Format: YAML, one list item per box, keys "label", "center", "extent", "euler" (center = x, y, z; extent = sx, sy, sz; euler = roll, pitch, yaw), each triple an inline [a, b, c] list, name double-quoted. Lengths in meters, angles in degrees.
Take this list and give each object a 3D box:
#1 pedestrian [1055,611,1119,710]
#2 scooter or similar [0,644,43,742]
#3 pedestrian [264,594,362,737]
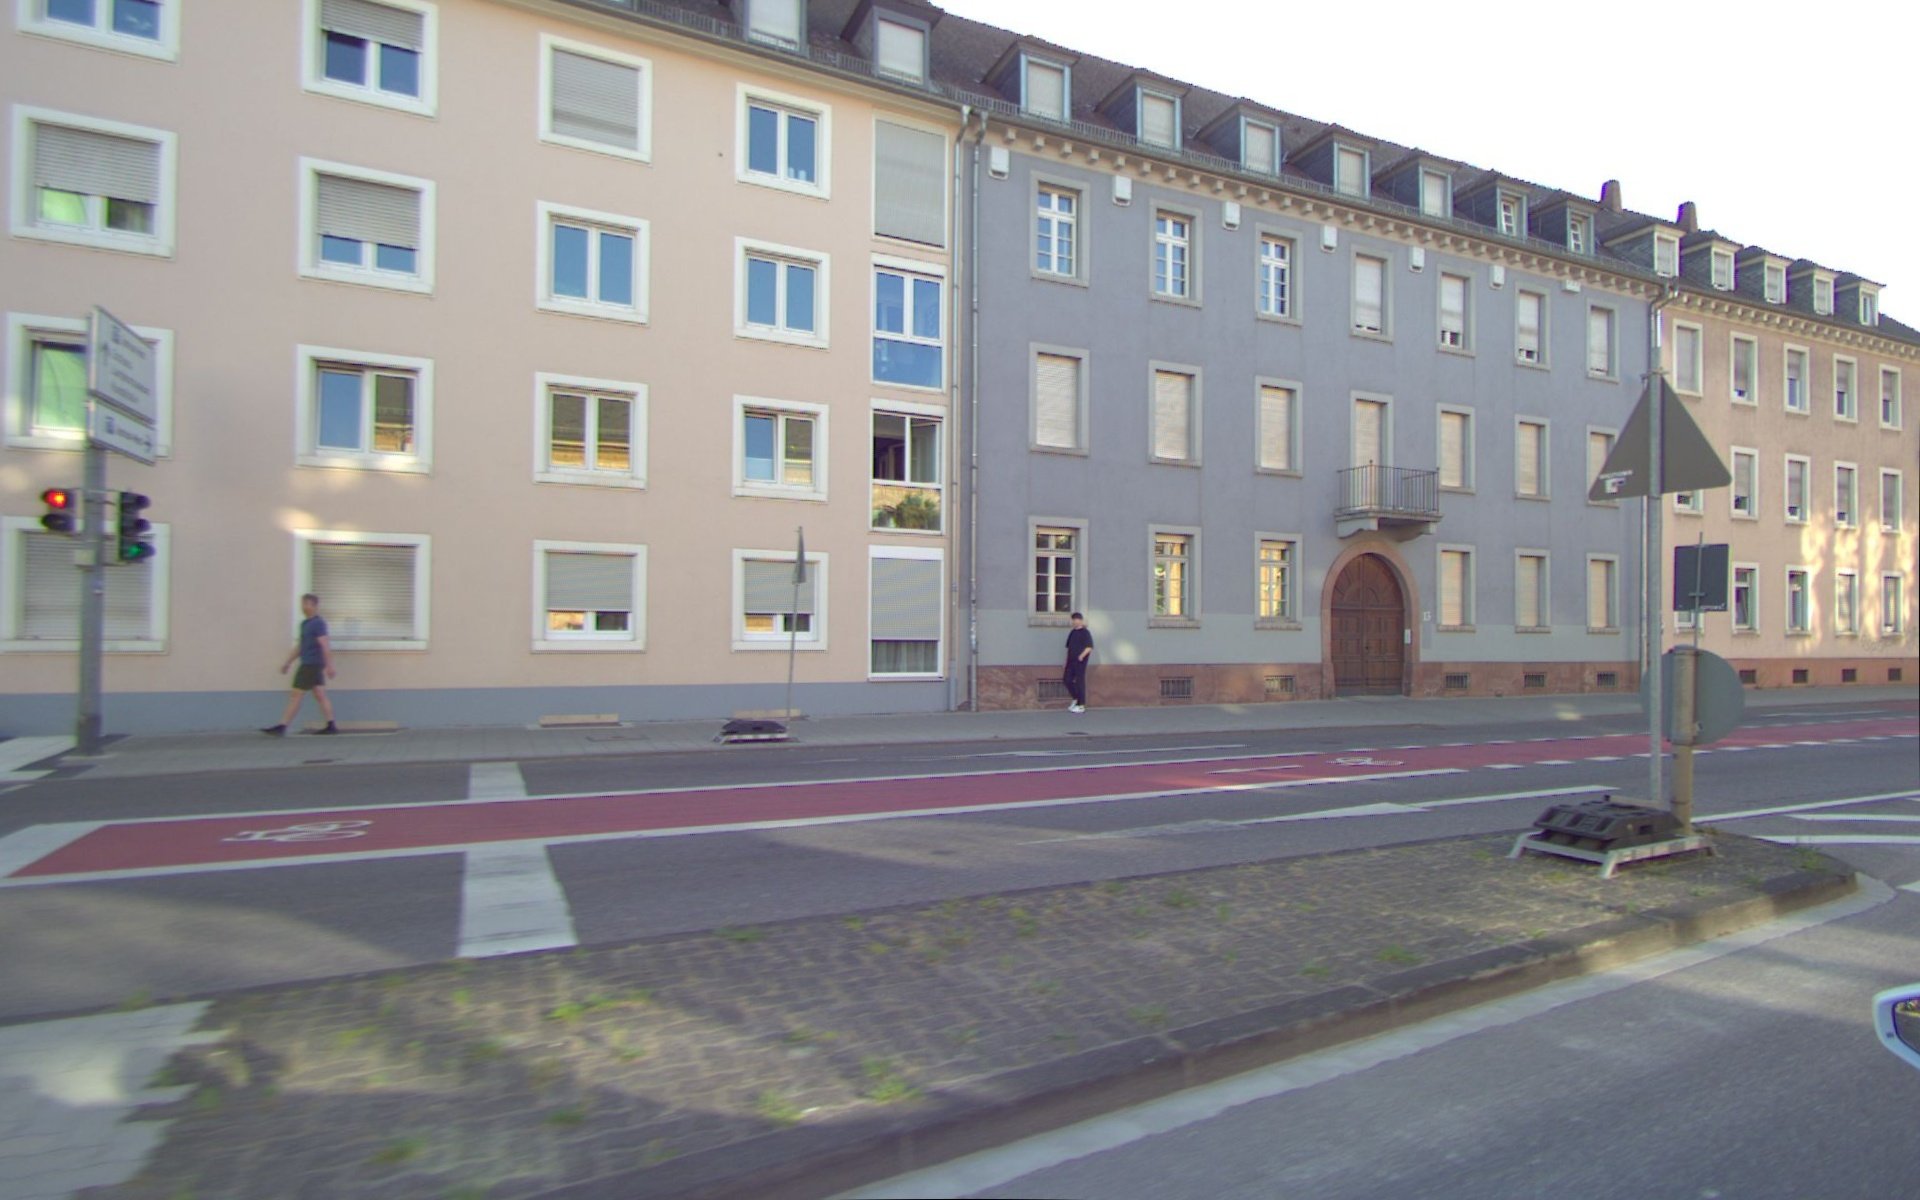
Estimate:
- label: "pedestrian"
  center: [2.477, 1.164, 19.614]
  extent: [1.000, 1.871, 0.629]
  euler: [1, 1, -26]
- label: "scooter or similar"
  center: [-12.524, 1.167, 12.550]
  extent: [1.454, 1.201, 0.532]
  euler: [1, 0, -25]
- label: "pedestrian"
  center: [-8.957, 0.874, 13.955]
  extent: [1.001, 1.888, 0.865]
  euler: [1, 1, -25]
